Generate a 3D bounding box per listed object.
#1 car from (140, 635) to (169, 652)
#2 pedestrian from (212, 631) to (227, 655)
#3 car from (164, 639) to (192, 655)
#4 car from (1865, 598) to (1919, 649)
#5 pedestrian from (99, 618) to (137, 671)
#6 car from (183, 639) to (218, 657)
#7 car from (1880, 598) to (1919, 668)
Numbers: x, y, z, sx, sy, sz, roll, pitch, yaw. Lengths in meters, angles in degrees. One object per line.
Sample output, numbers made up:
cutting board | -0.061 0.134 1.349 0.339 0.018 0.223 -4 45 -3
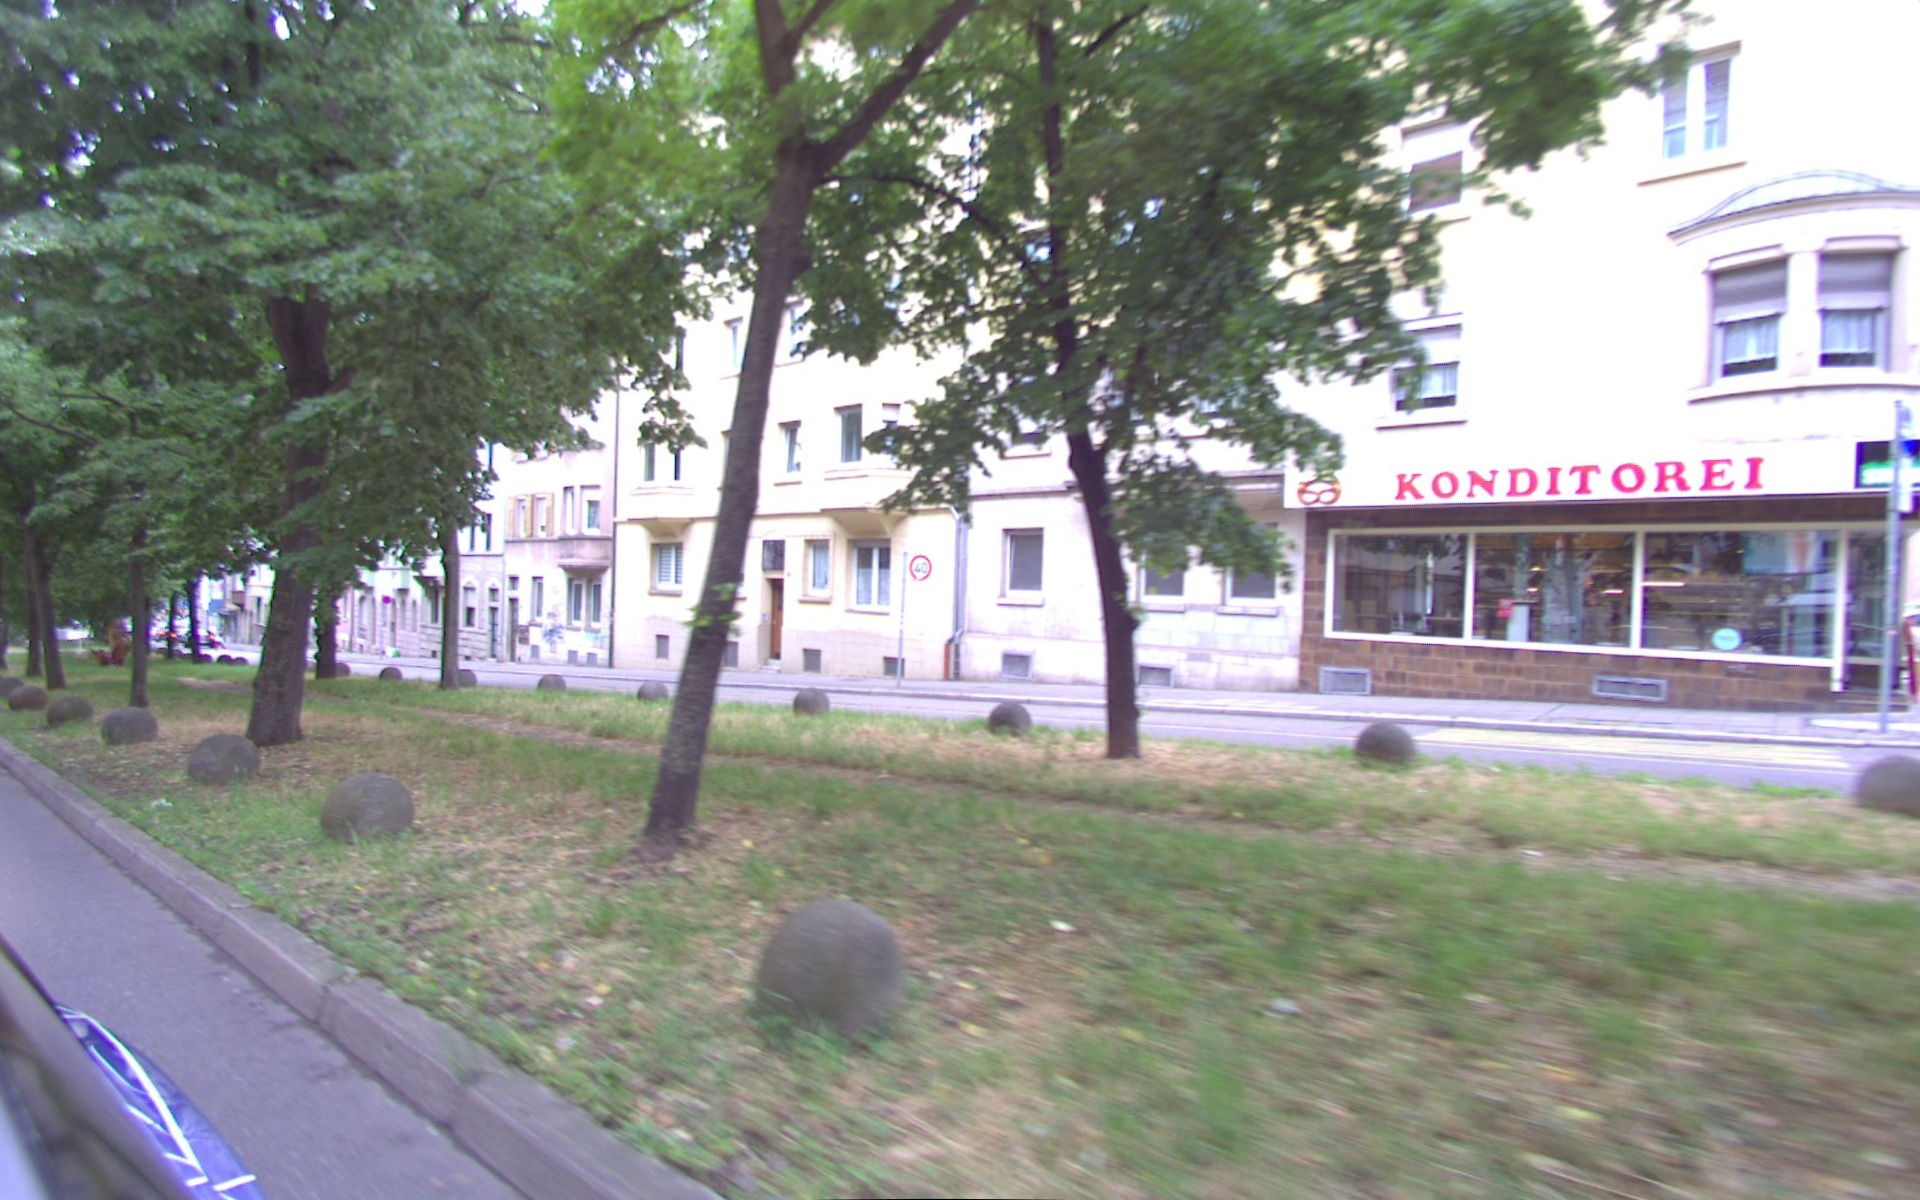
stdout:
car | -81.899 4.427 102.858 1.794 1.649 4.683 4 -3 -44
pedestrian | -47.077 2.738 64.349 0.690 1.471 0.705 0 -2 -42
car | -72.054 4.316 93.199 1.688 1.393 4.674 3 -4 -42
car | 29.168 0.715 29.865 1.774 1.490 3.890 1 -1 8
pedestrian | -28.579 1.512 34.357 0.823 1.725 1.124 6 -3 -43
car | -59.106 3.766 78.769 1.737 1.393 4.674 3 -4 -42
car | 21.685 0.713 21.141 1.800 1.523 3.757 1 -1 8
